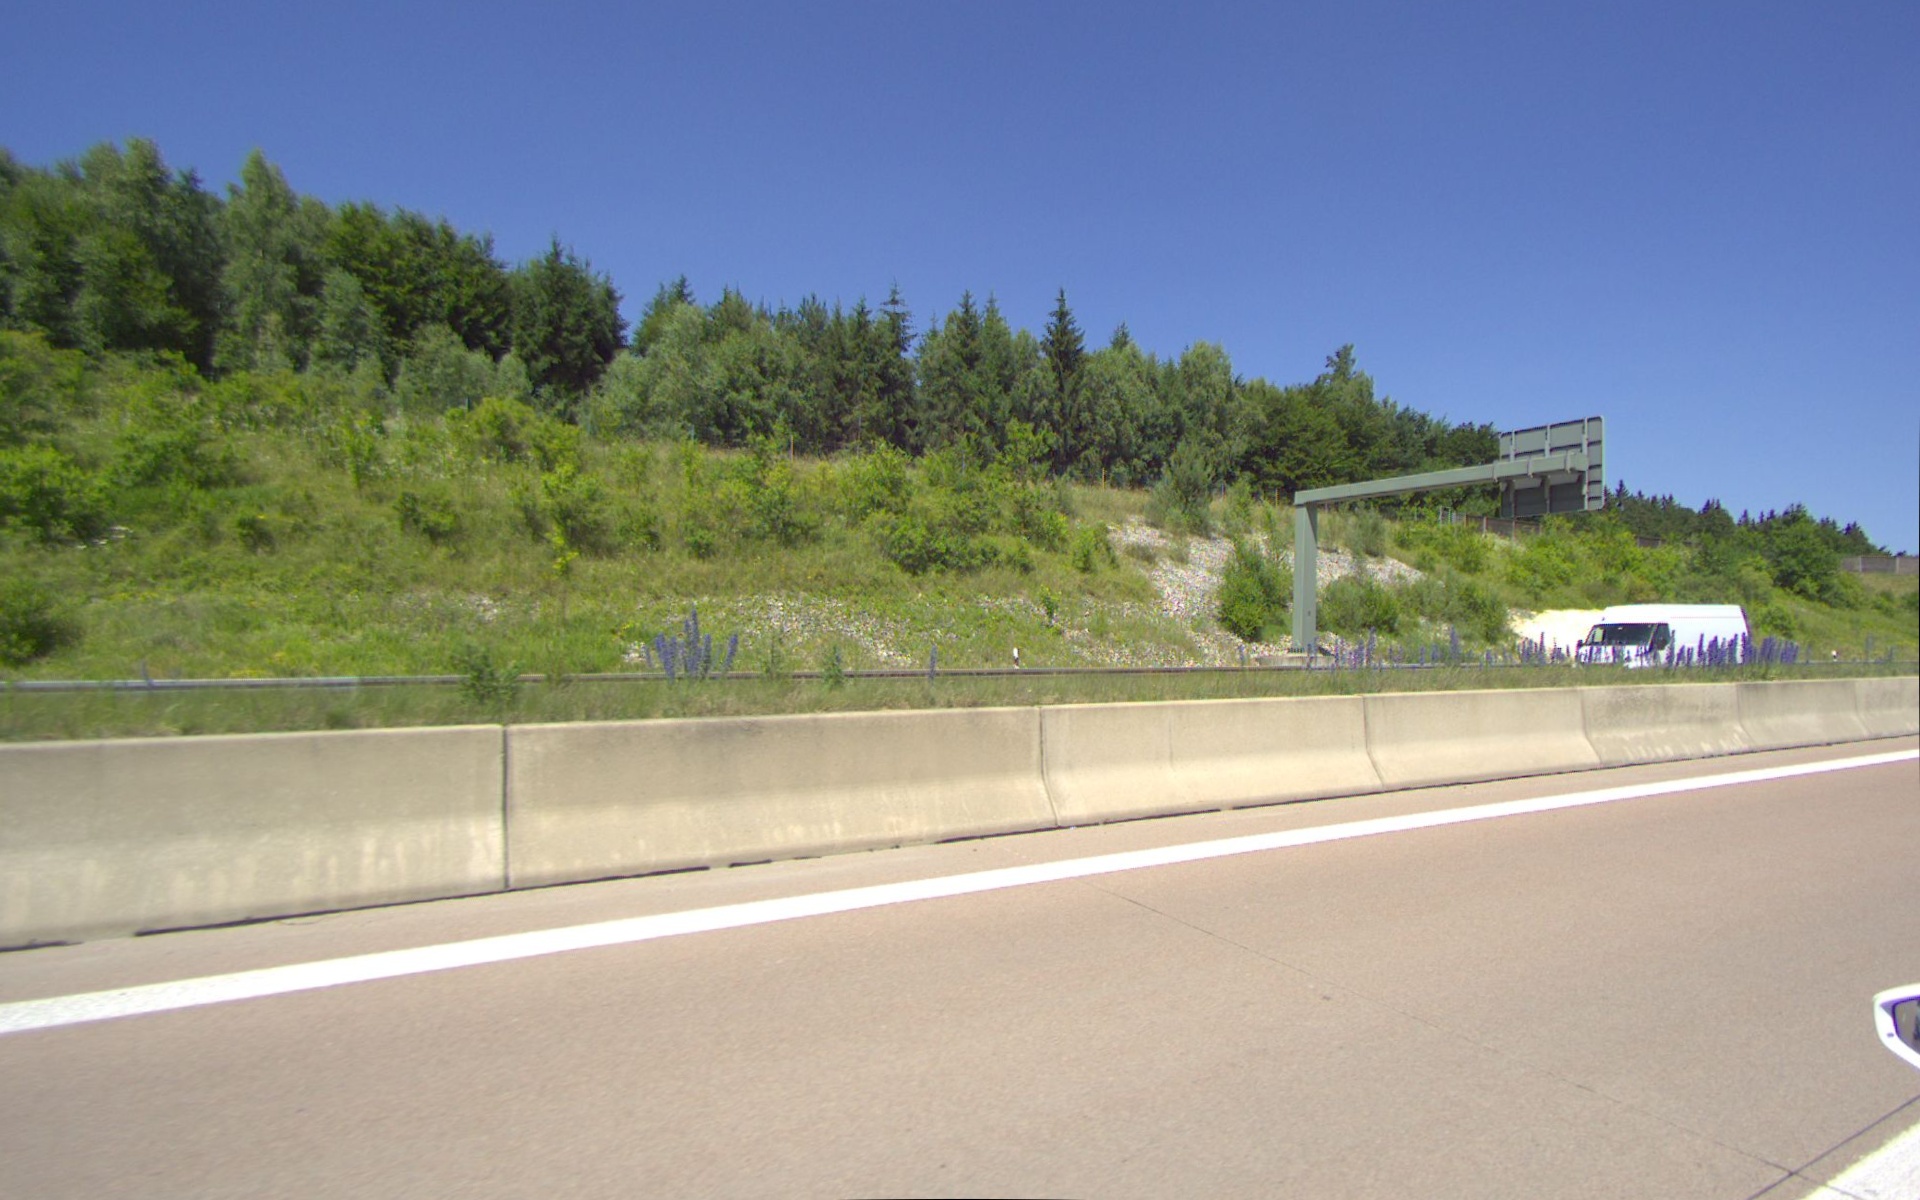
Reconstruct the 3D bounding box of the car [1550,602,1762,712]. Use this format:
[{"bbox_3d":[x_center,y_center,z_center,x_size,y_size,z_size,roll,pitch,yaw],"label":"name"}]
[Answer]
[{"bbox_3d":[21.184,1.567,30.459,7.413,3.009,2.398,0,0,-30],"label":"car"}]
